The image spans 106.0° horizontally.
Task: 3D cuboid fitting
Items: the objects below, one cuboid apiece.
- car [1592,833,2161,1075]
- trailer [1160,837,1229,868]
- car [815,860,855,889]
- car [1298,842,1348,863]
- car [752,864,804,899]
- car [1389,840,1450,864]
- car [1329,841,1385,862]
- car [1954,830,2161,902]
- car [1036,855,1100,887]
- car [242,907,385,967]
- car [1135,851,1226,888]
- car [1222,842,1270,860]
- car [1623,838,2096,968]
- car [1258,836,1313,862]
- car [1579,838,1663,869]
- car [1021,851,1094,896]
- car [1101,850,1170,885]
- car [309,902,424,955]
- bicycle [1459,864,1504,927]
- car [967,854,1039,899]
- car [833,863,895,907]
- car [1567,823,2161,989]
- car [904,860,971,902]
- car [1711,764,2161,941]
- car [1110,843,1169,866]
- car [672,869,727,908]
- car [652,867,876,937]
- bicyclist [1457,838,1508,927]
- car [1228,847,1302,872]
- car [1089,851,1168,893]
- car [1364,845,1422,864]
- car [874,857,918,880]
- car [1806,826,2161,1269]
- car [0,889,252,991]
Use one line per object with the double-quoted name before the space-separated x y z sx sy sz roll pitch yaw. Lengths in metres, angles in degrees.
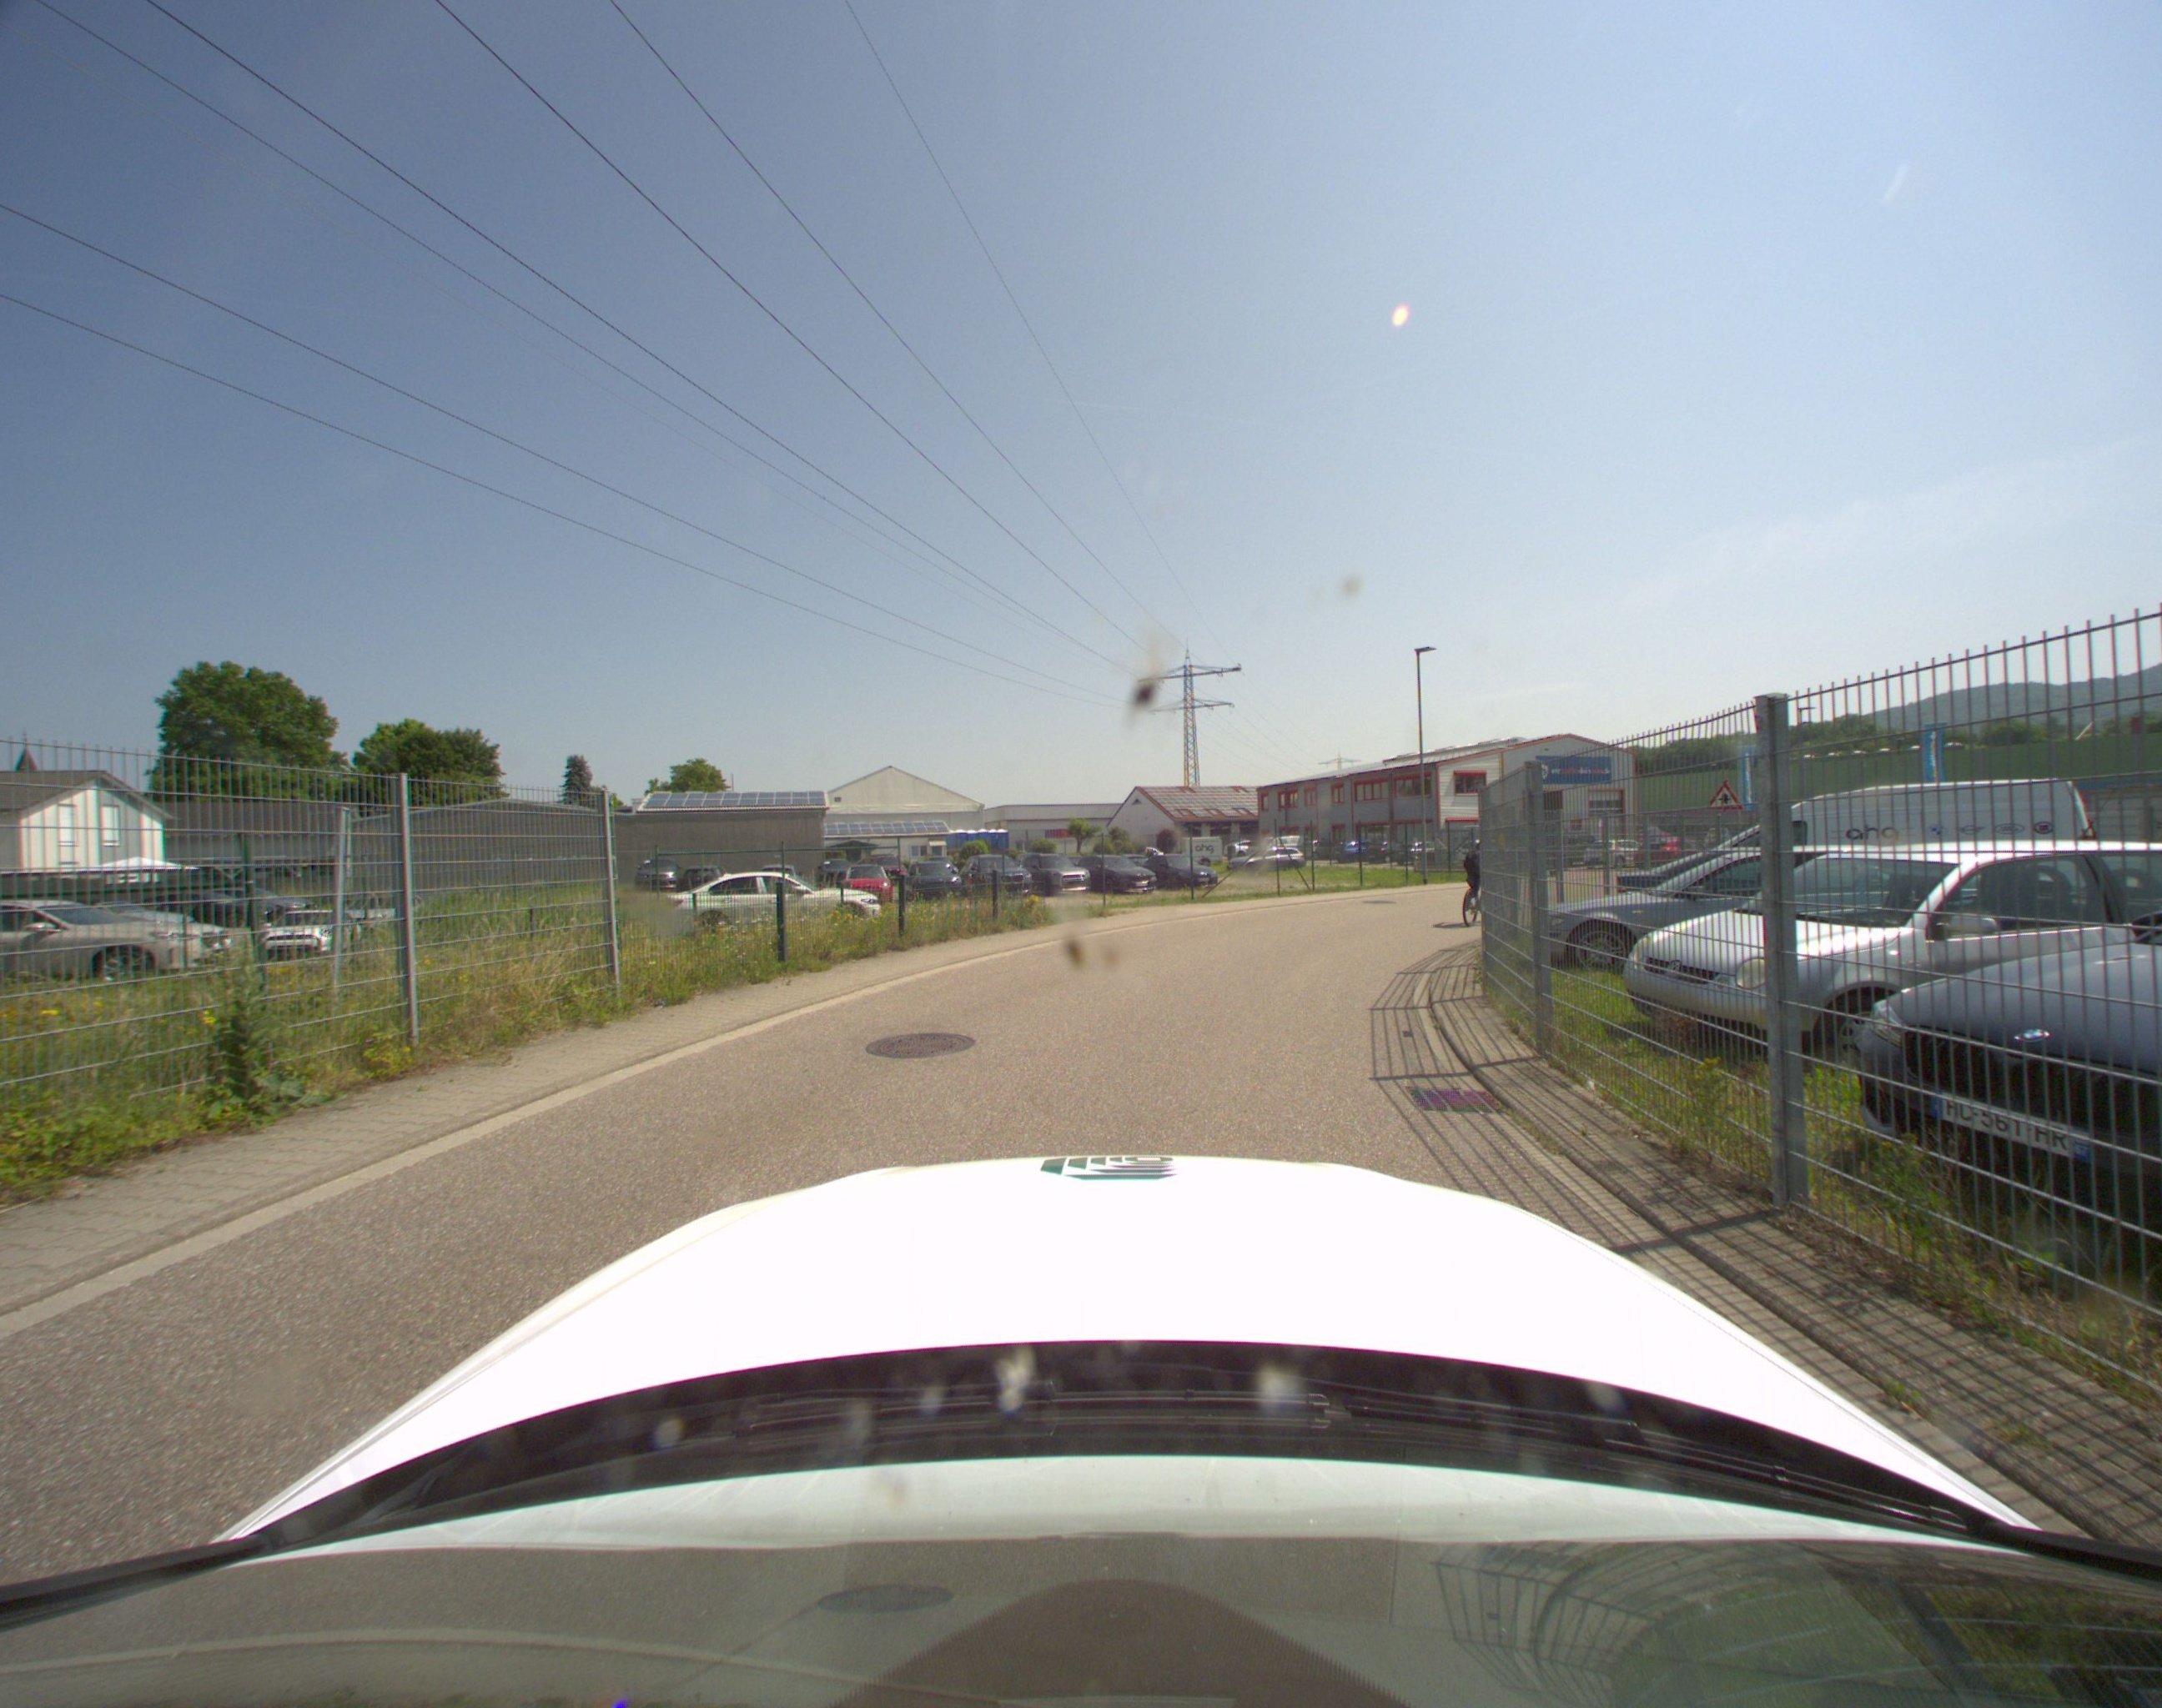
"car" 5.923 0.608 5.871 3.452 1.422 1.636 -2 0 0
"trailer" 7.840 -0.132 56.440 4.441 1.945 1.711 -2 0 -6
"car" -13.679 1.098 45.122 1.869 1.433 4.573 -2 0 -20
"car" 18.924 -0.128 63.655 3.605 1.544 1.497 -2 0 -21
"car" -12.594 1.102 33.772 1.870 1.298 3.415 -2 0 -22
"car" 21.685 -0.124 52.166 3.605 1.381 1.497 -2 0 -21
"car" 19.595 -0.187 57.784 3.605 1.416 1.497 -2 0 -21
"car" 19.639 0.208 15.628 1.917 1.277 3.882 -2 0 -42
"car" -0.695 0.783 39.344 1.999 1.420 3.976 -2 1 -18
"car" -21.809 2.301 23.315 1.658 1.314 3.370 -2 0 -18
"car" 4.174 0.646 35.089 2.002 1.435 4.634 -2 0 -20
"car" 14.722 -0.259 72.647 3.908 1.516 1.497 -2 0 -21
"car" 9.647 0.541 10.560 4.154 1.357 1.626 -1 0 42
"car" 16.517 -0.423 65.811 3.908 1.978 1.811 -2 0 -21
"car" 27.299 -0.027 41.193 3.605 1.404 1.739 -2 0 -21
"car" -0.993 0.744 32.785 1.869 1.644 3.609 -2 0 -20
"car" 2.581 0.601 39.974 2.000 1.435 4.398 -2 2 -16
"car" -27.651 2.819 31.688 2.000 1.618 3.973 -2 0 -20
"bicycle" 7.685 0.758 15.581 0.678 1.051 1.912 0 1 29
"car" -3.083 0.821 31.488 1.869 1.561 3.672 -2 0 -20
"car" -8.006 1.096 29.860 1.869 1.453 3.417 -2 0 -20
"car" 7.754 0.469 8.696 4.301 1.395 1.627 -1 0 34
"car" -5.500 0.976 30.867 1.869 1.433 3.624 -2 0 -20
"car" 12.659 -0.016 11.806 1.917 2.149 5.279 -2 0 -41
"car" 4.383 0.051 61.305 3.999 1.598 1.865 -2 0 -19
"car" -15.681 1.361 33.408 1.873 1.414 3.410 -2 0 -27
"car" -7.153 1.042 18.763 4.562 1.307 1.856 -2 0 -20
"bicyclist" 7.646 0.516 15.487 0.834 1.618 1.046 0 0 28
"car" 10.545 0.290 46.624 4.144 1.261 1.226 -2 0 -21
"car" 1.884 0.715 33.211 1.869 1.554 3.745 -2 0 -20
"car" 21.170 0.015 55.330 3.605 1.151 1.497 -2 0 -21
"car" -10.530 0.818 46.237 1.869 1.175 4.573 -2 0 -20
"car" 5.861 0.587 3.132 4.522 1.474 1.825 -2 0 0
"car" -18.514 1.533 14.719 4.438 1.562 2.029 -2 0 -20
